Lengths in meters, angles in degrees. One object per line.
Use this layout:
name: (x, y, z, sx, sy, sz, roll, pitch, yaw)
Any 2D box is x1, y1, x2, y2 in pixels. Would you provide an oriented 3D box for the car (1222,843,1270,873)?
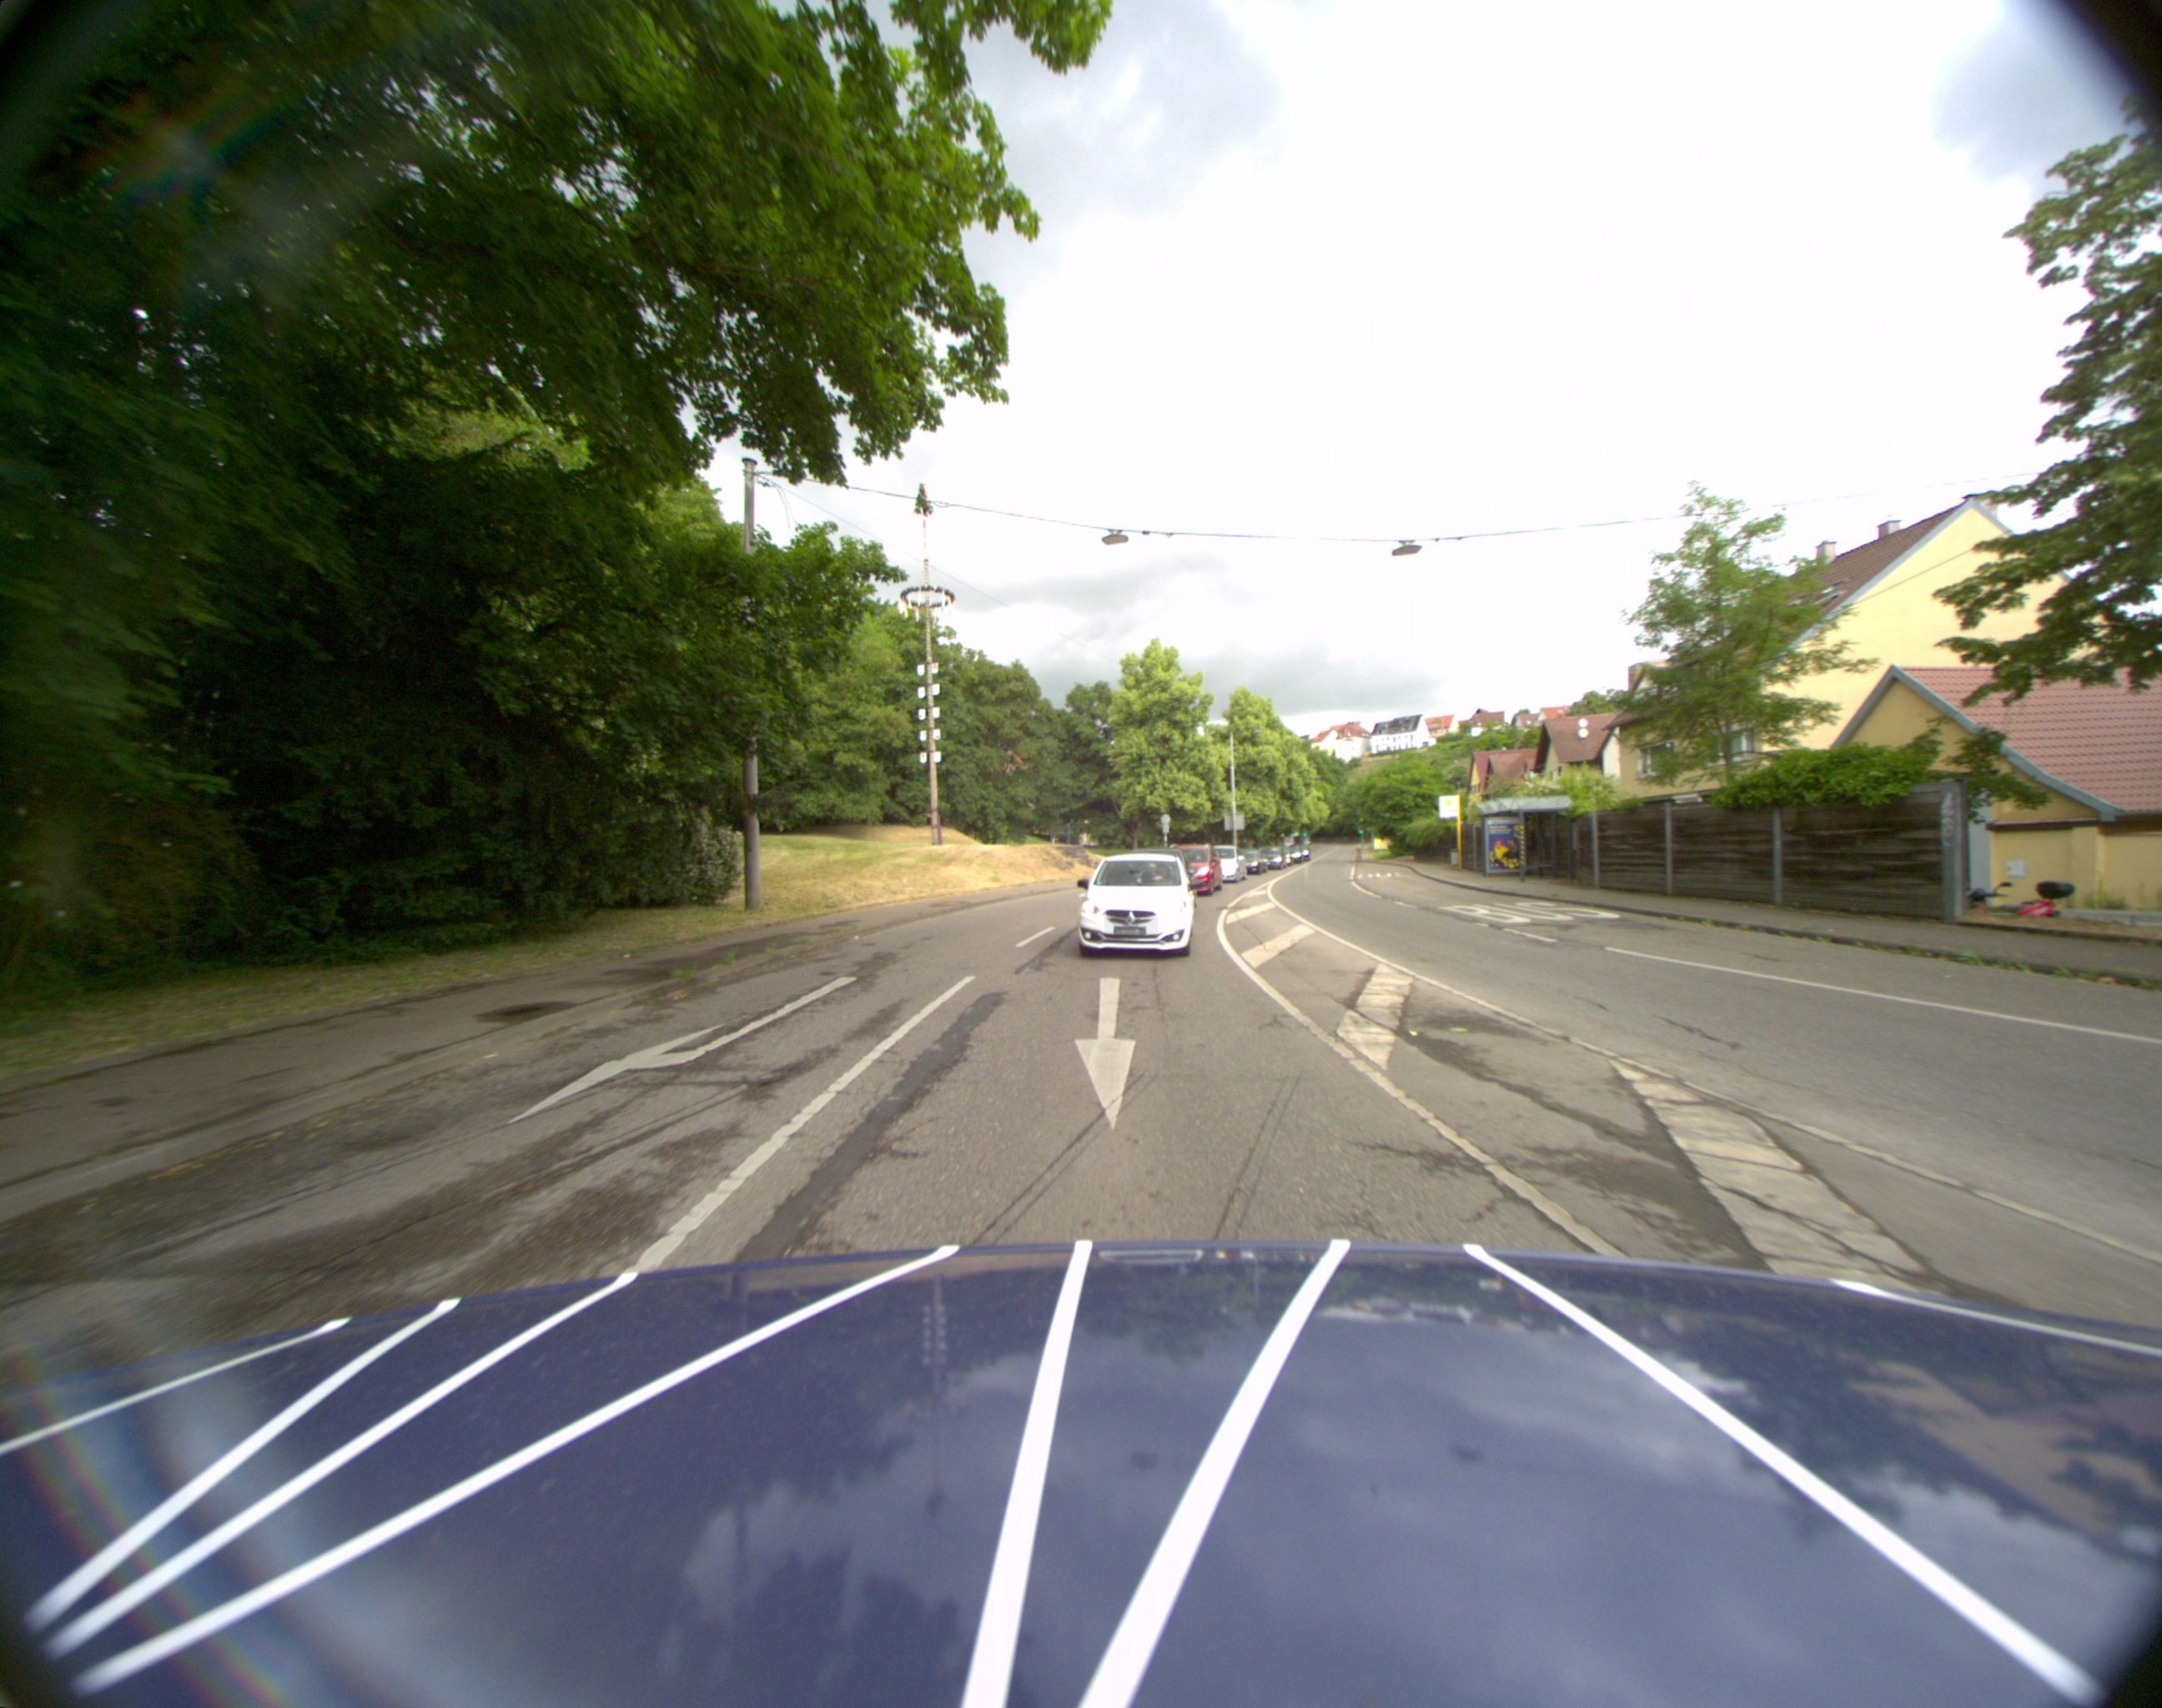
car: (9.004, 0.191, 41.208, 1.851, 1.449, 4.006, -1, 1, 23)

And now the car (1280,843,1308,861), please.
car: (16.584, -0.154, 58.956, 1.642, 1.262, 3.631, -1, 1, 23)

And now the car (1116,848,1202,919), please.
car: (2.041, 0.657, 18.848, 1.729, 1.512, 4.003, -1, 1, 11)

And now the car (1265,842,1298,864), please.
car: (14.158, -0.091, 53.489, 1.704, 1.438, 3.872, -1, 1, 22)

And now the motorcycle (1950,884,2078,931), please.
motorcycle: (16.994, 0.974, 13.867, 1.582, 0.819, 0.419, -1, 2, 10)

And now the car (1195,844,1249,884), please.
car: (6.175, 0.387, 33.012, 1.780, 1.560, 4.005, -1, 1, 18)

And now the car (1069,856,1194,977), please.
car: (0.962, 0.846, 12.124, 1.627, 1.500, 4.002, -1, 1, 9)

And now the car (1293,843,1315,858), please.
car: (19.067, -0.329, 64.817, 1.417, 1.242, 3.300, -1, 1, 23)

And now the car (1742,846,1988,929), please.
car: (17.656, 0.678, 17.441, 1.899, 1.618, 4.002, -2, 1, 8)

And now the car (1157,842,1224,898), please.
car: (3.693, 0.463, 25.087, 1.673, 1.632, 4.104, -1, 1, 15)

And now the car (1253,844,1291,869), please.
car: (11.891, 0.120, 47.119, 1.694, 1.403, 3.987, -1, 1, 23)
